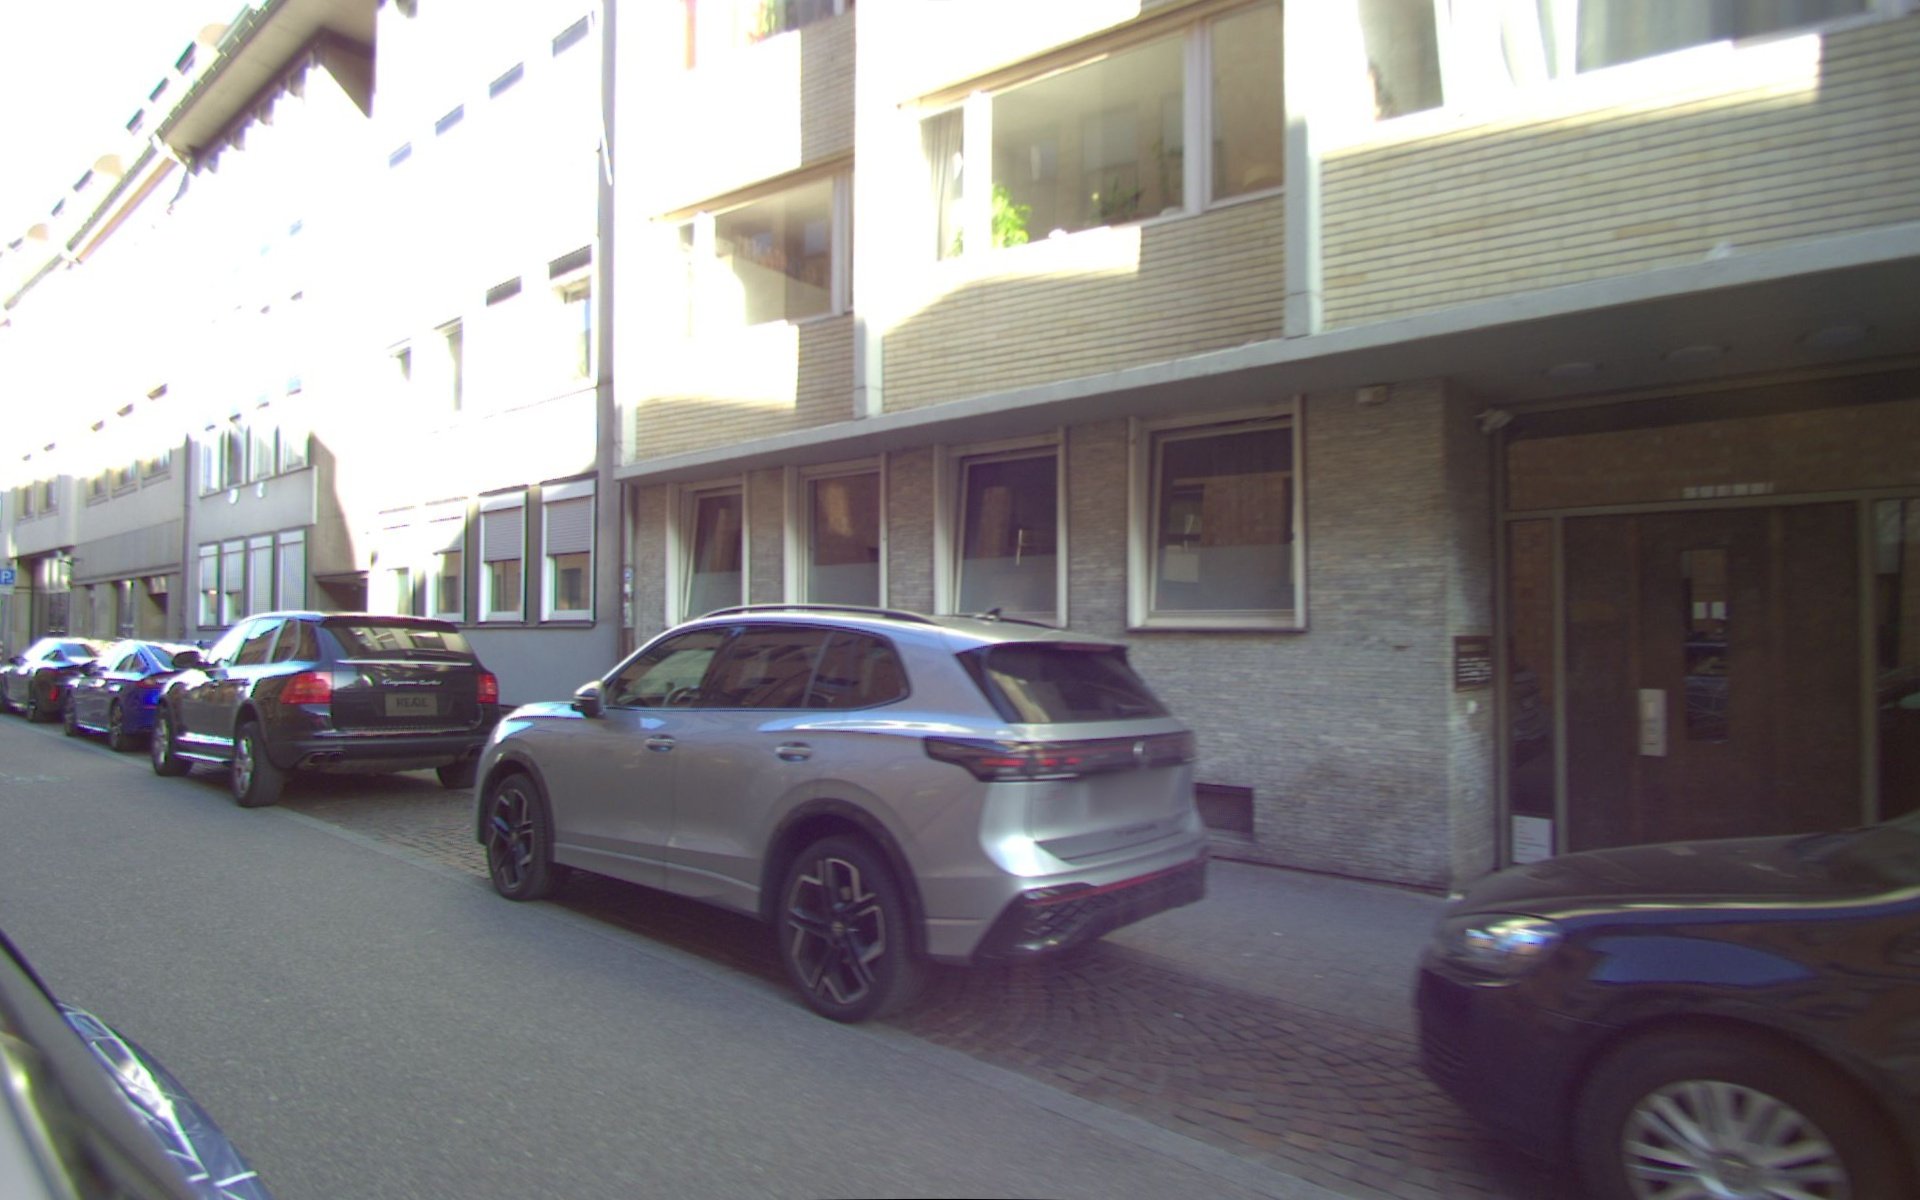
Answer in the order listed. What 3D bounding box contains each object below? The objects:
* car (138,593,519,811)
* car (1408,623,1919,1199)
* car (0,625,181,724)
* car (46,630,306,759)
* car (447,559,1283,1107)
[{"bbox_3d":[-6.415,0.880,10.066,4.549,1.688,1.871,-2,-3,40],"label":"car"},{"bbox_3d":[3.247,0.820,2.051,3.996,1.472,1.631,-2,-5,41],"label":"car"},{"bbox_3d":[-15.736,1.286,17.981,4.723,1.542,1.871,-2,-6,39],"label":"car"},{"bbox_3d":[-11.063,1.212,14.184,4.334,1.542,1.872,-2,-3,38],"label":"car"},{"bbox_3d":[-0.774,0.829,5.393,4.386,1.755,1.871,-2,-3,39],"label":"car"}]
